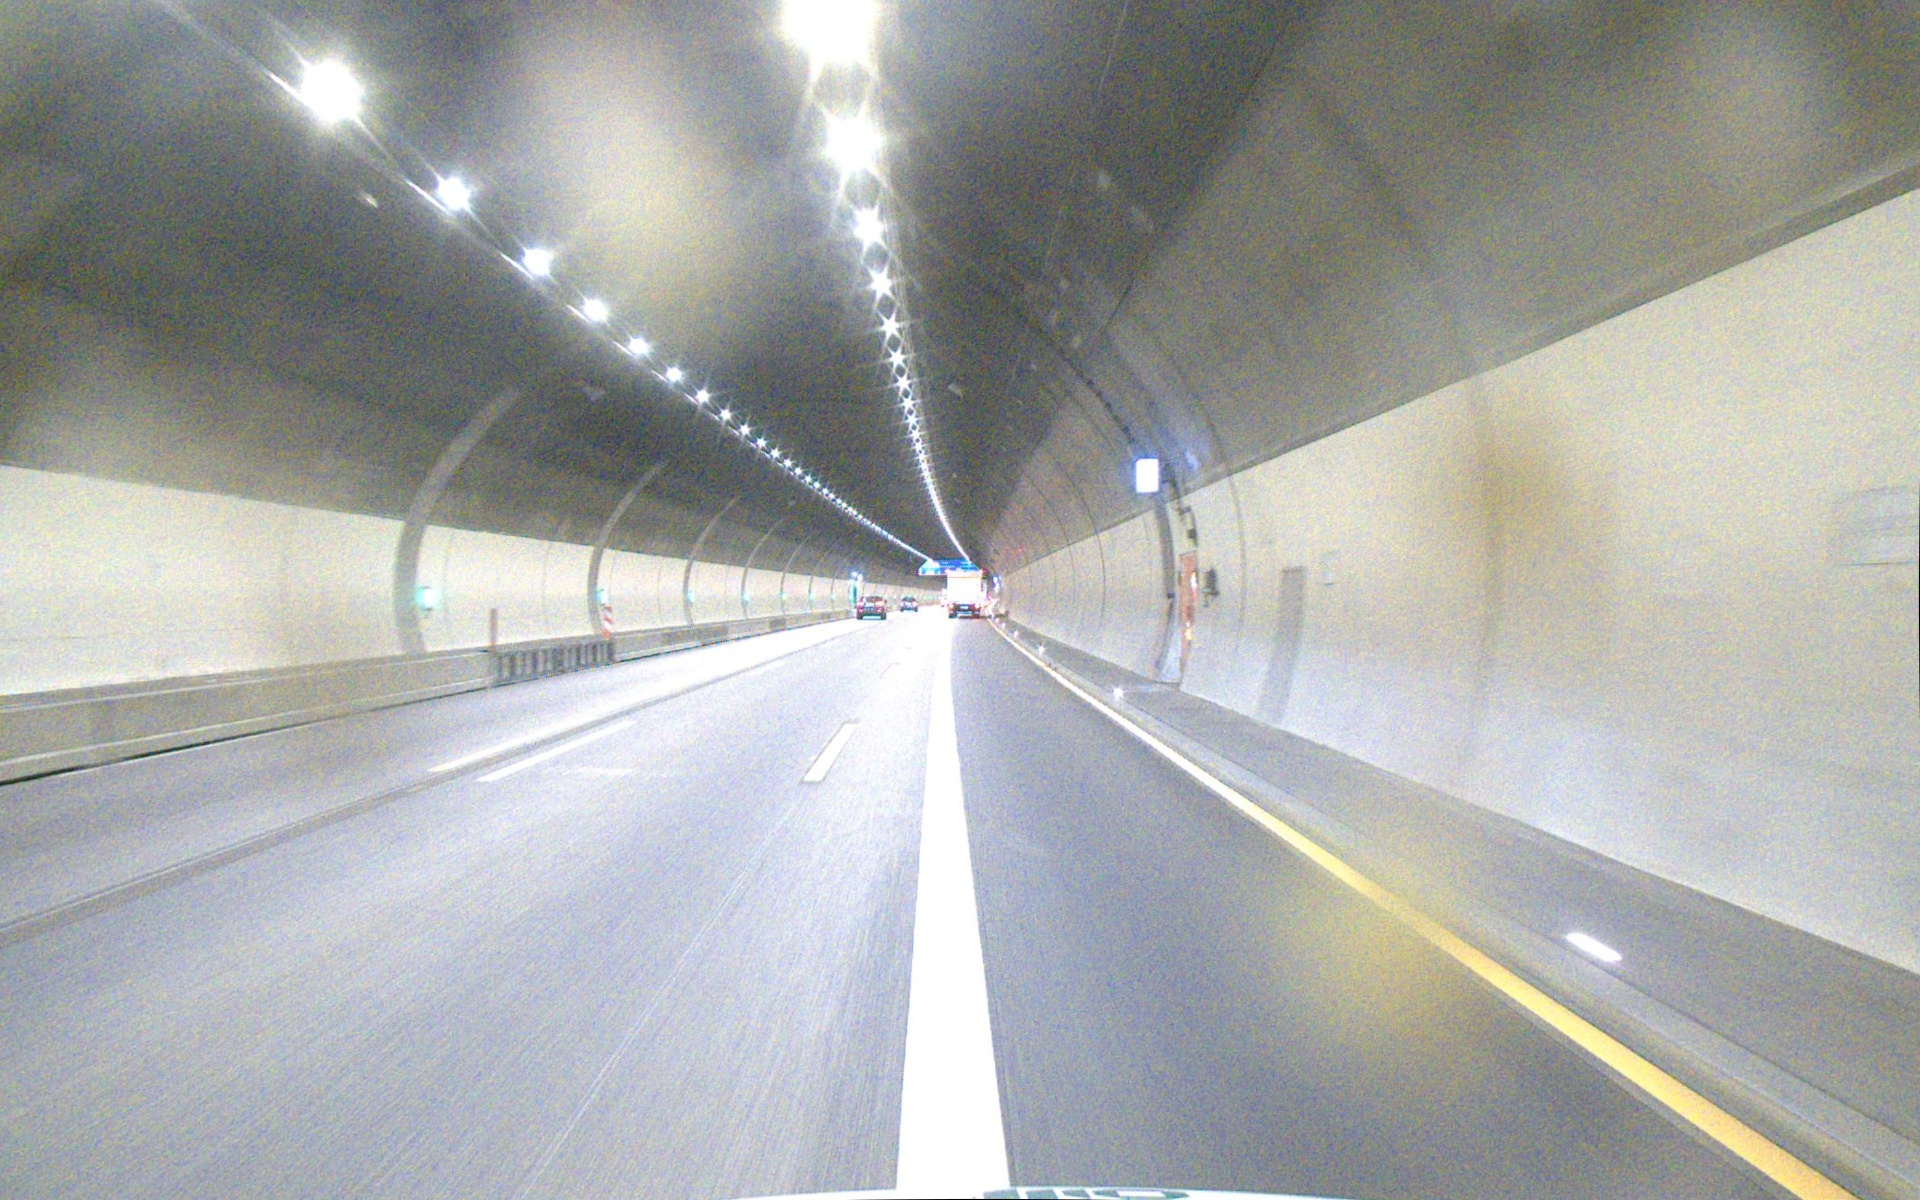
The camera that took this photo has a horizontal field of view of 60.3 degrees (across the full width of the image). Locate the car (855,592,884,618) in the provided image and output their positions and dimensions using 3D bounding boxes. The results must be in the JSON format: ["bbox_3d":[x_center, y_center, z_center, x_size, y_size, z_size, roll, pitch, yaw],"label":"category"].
[{"bbox_3d":[-5.896,0.342,107.967,1.776,1.646,3.999,0,0,-1],"label":"car"}]

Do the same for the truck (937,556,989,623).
[{"bbox_3d":[0.111,-0.796,127.847,3.213,4.731,17.278,-1,0,-2],"label":"truck"}]

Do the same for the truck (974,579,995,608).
[{"bbox_3d":[3.650,-1.015,248.853,2.863,4.118,14.028,-1,0,0],"label":"truck"}]

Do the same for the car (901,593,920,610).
[{"bbox_3d":[-4.902,0.112,163.135,1.776,1.546,3.999,0,2,-3],"label":"car"}]
